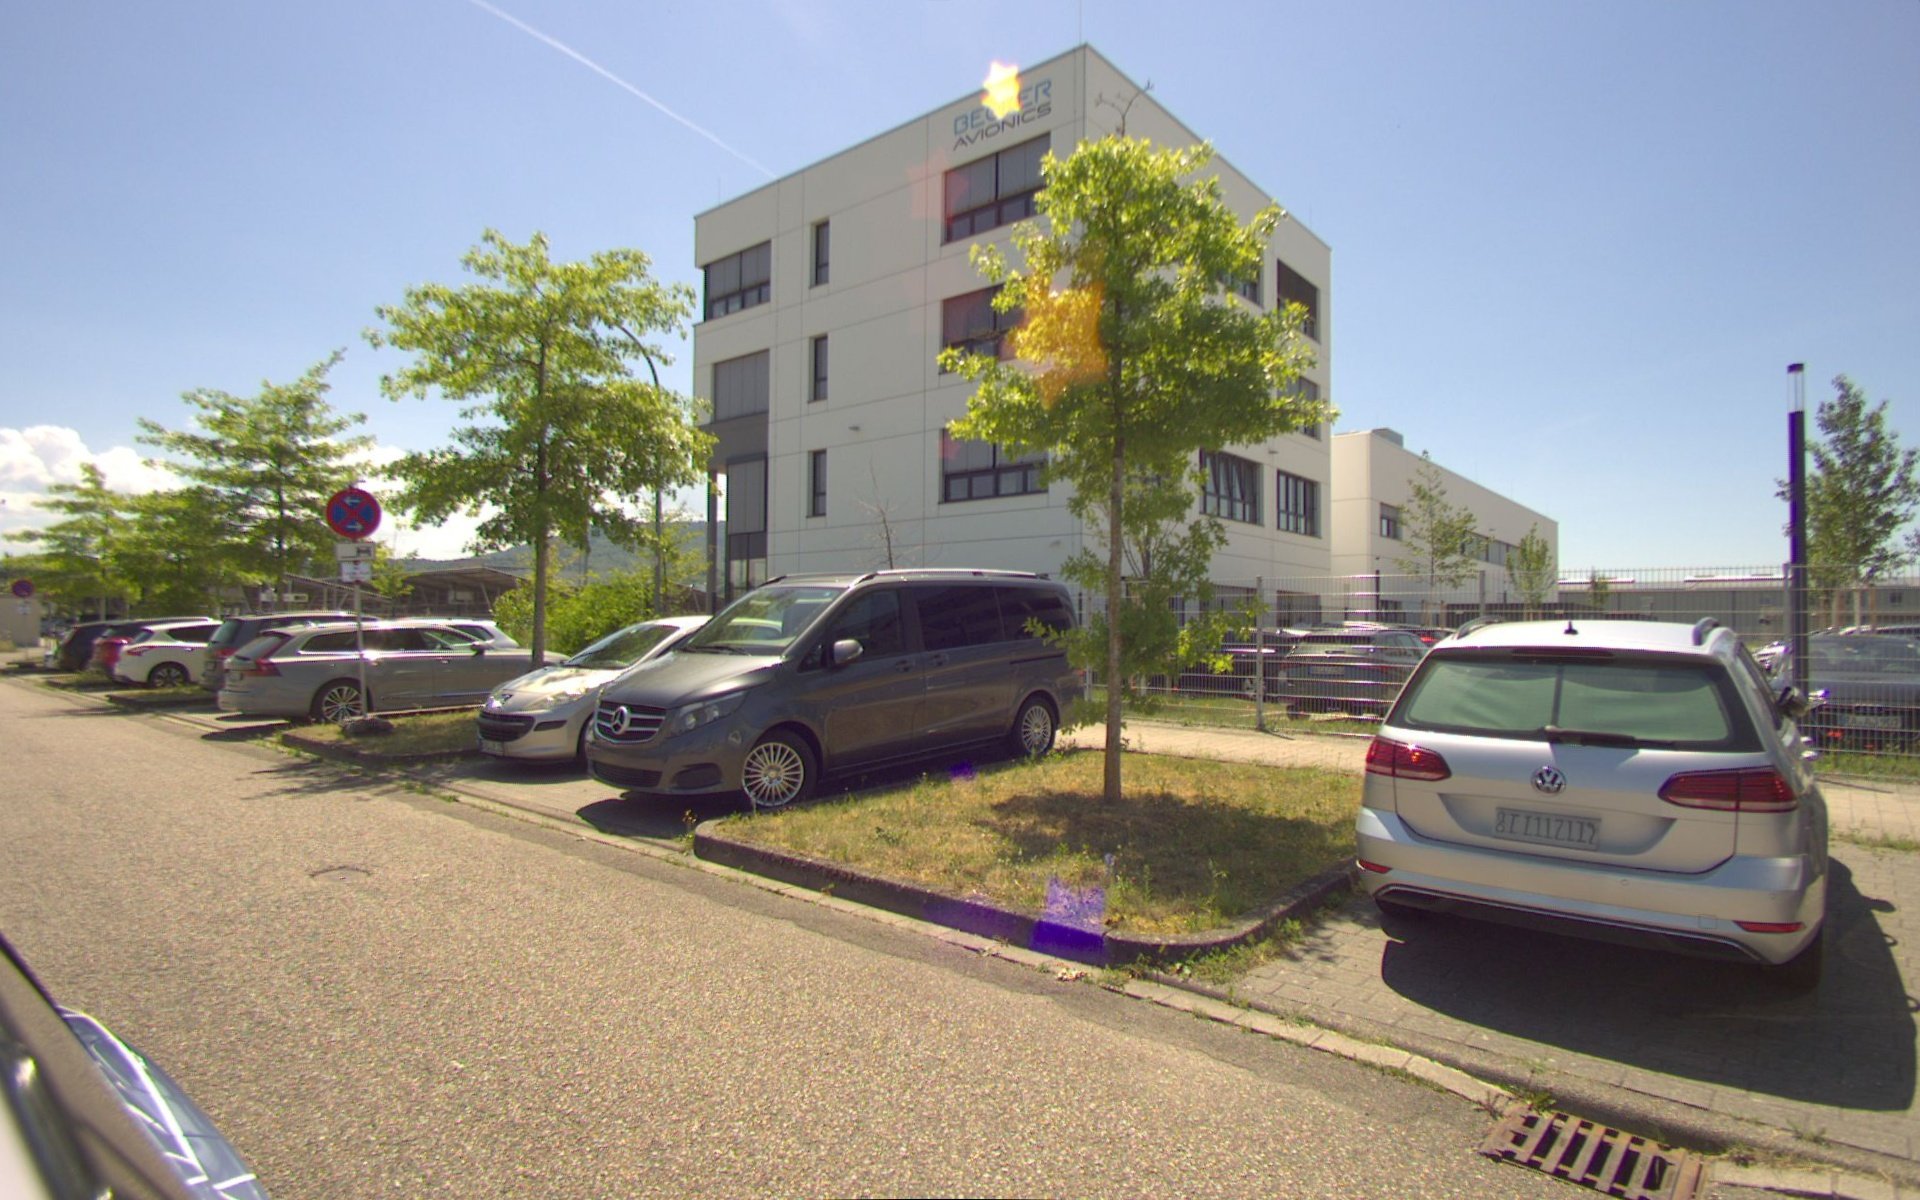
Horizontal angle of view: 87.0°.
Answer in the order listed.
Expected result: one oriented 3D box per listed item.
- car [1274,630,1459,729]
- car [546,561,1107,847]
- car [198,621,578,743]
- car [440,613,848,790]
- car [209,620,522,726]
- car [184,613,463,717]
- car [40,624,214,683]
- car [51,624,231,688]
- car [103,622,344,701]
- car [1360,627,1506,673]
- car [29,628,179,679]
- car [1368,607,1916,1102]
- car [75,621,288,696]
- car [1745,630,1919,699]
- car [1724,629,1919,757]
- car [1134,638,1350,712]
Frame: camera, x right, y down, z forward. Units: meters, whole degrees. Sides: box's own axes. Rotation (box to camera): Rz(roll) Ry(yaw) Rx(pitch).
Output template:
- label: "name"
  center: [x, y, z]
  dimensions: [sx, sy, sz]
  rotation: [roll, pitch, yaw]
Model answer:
- label: "car"
  center: [6.414, 1.247, 15.724]
  dimensions: [1.675, 1.342, 3.949]
  rotation: [-1, -6, 37]
- label: "car"
  center: [-0.909, 0.728, 9.304]
  dimensions: [1.997, 1.906, 5.015]
  rotation: [-2, -2, 42]
- label: "car"
  center: [-8.414, 1.106, 15.284]
  dimensions: [1.856, 1.458, 4.665]
  rotation: [-2, -1, 40]
- label: "car"
  center: [-3.288, 0.946, 11.097]
  dimensions: [1.763, 1.495, 3.927]
  rotation: [-2, -1, 41]
- label: "car"
  center: [-9.953, 1.139, 17.226]
  dimensions: [1.725, 1.484, 4.269]
  rotation: [-2, -1, 39]
- label: "car"
  center: [-11.682, 1.113, 18.765]
  dimensions: [1.727, 1.647, 4.073]
  rotation: [-2, -1, 43]
- label: "car"
  center: [-25.319, 1.584, 30.861]
  dimensions: [1.827, 1.605, 3.802]
  rotation: [-2, -1, 38]
- label: "car"
  center: [-23.377, 1.550, 28.962]
  dimensions: [1.728, 1.604, 3.862]
  rotation: [-2, -1, 45]
- label: "car"
  center: [-16.544, 1.329, 22.881]
  dimensions: [1.807, 1.524, 4.127]
  rotation: [-3, -2, 42]
- label: "car"
  center: [15.646, 1.634, 33.567]
  dimensions: [3.999, 1.237, 1.973]
  rotation: [2, -1, 41]
- label: "car"
  center: [-27.361, 1.685, 32.410]
  dimensions: [1.726, 1.452, 3.469]
  rotation: [-2, -1, 40]
- label: "car"
  center: [3.528, 0.807, 5.198]
  dimensions: [1.602, 1.472, 3.999]
  rotation: [-1, 0, 38]
- label: "car"
  center: [-18.757, 1.343, 24.518]
  dimensions: [1.725, 1.604, 3.801]
  rotation: [-2, -1, 39]
- label: "car"
  center: [23.403, 1.673, 26.833]
  dimensions: [3.998, 1.730, 1.973]
  rotation: [-2, -4, 41]
- label: "car"
  center: [9.978, 1.066, 11.666]
  dimensions: [1.677, 1.248, 3.443]
  rotation: [-2, -6, 40]
- label: "car"
  center: [6.012, 1.550, 21.809]
  dimensions: [3.999, 1.237, 1.973]
  rotation: [2, -1, 41]
